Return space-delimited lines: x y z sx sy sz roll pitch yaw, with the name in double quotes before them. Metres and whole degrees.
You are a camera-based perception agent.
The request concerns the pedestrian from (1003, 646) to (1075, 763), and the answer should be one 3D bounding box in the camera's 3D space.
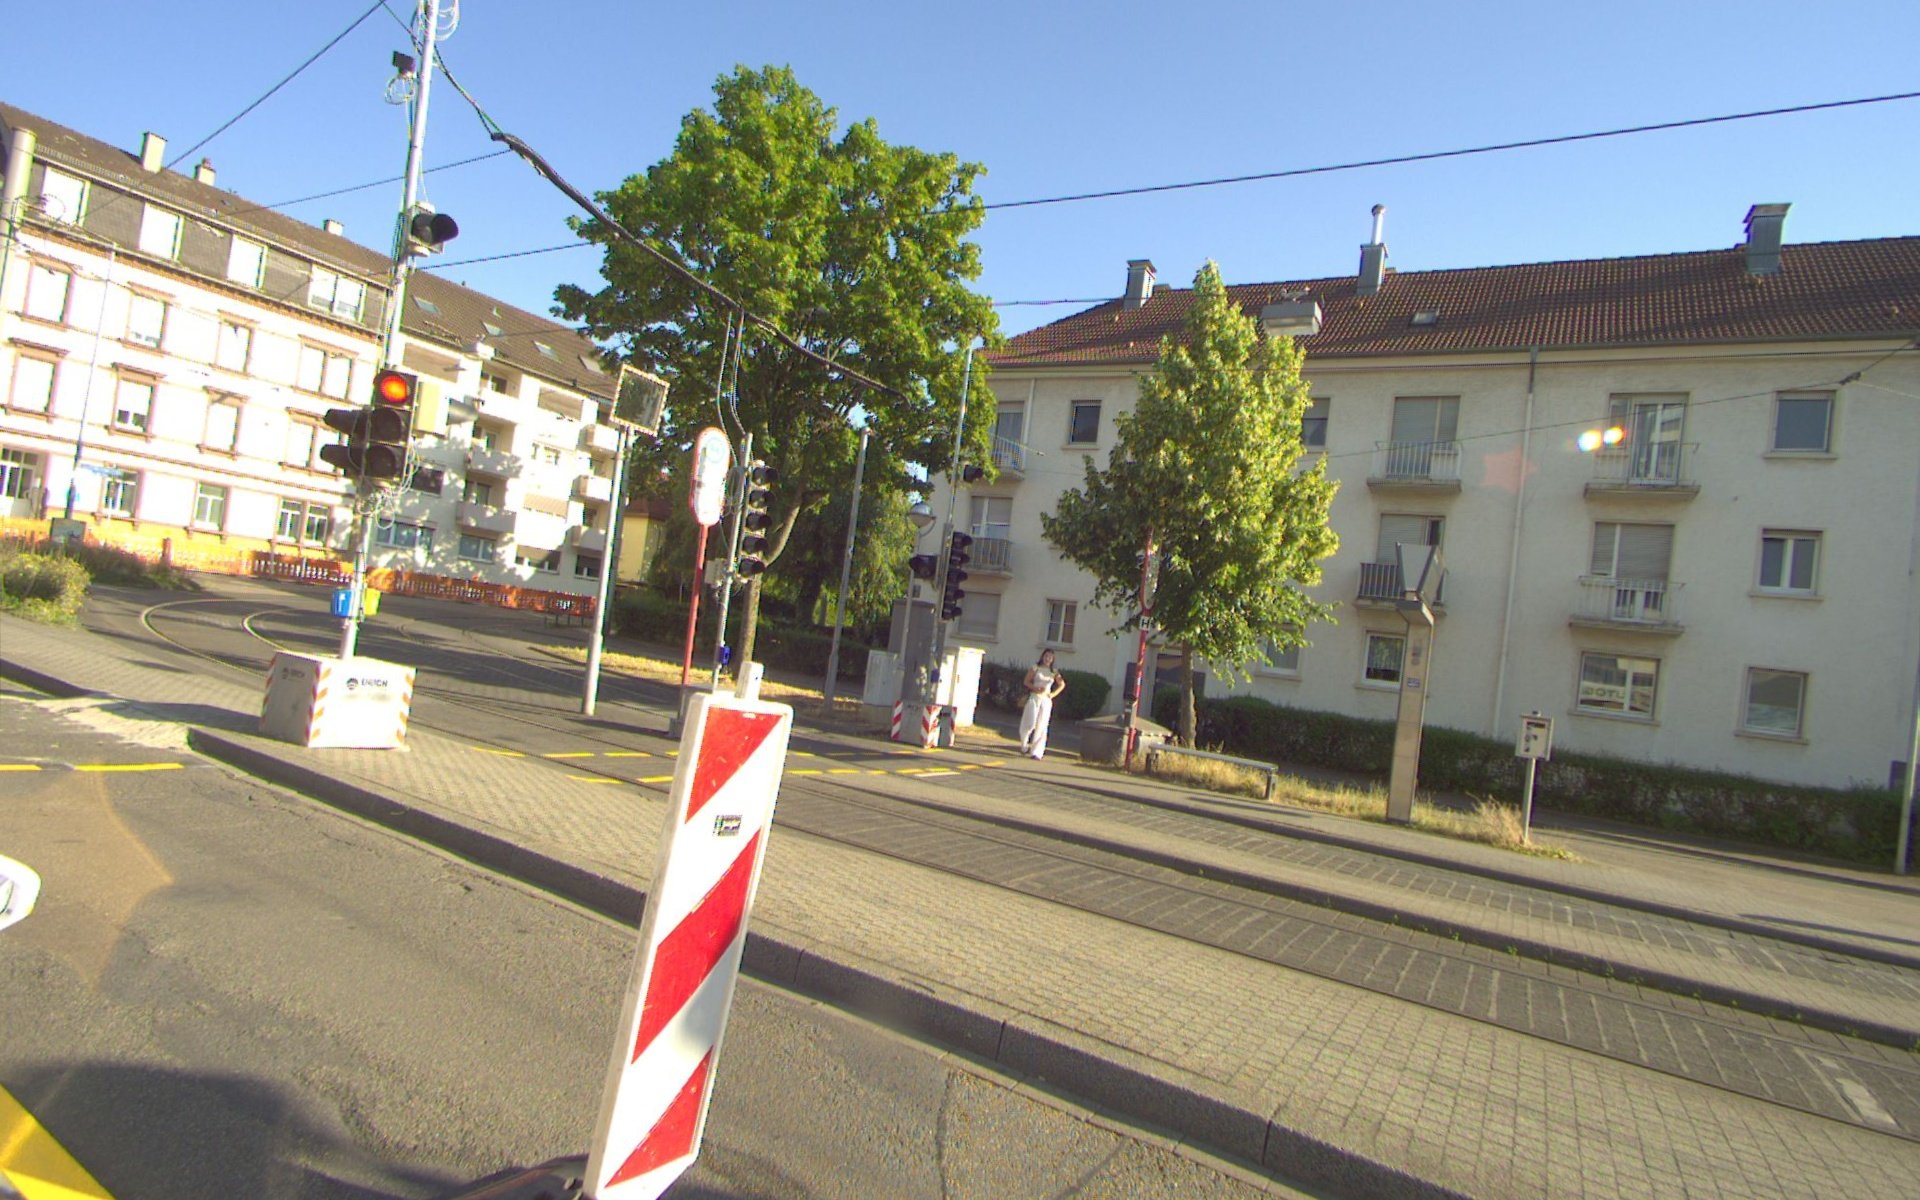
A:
"pedestrian" 1.216 1.574 15.333 0.811 1.639 0.792 7 -1 13
